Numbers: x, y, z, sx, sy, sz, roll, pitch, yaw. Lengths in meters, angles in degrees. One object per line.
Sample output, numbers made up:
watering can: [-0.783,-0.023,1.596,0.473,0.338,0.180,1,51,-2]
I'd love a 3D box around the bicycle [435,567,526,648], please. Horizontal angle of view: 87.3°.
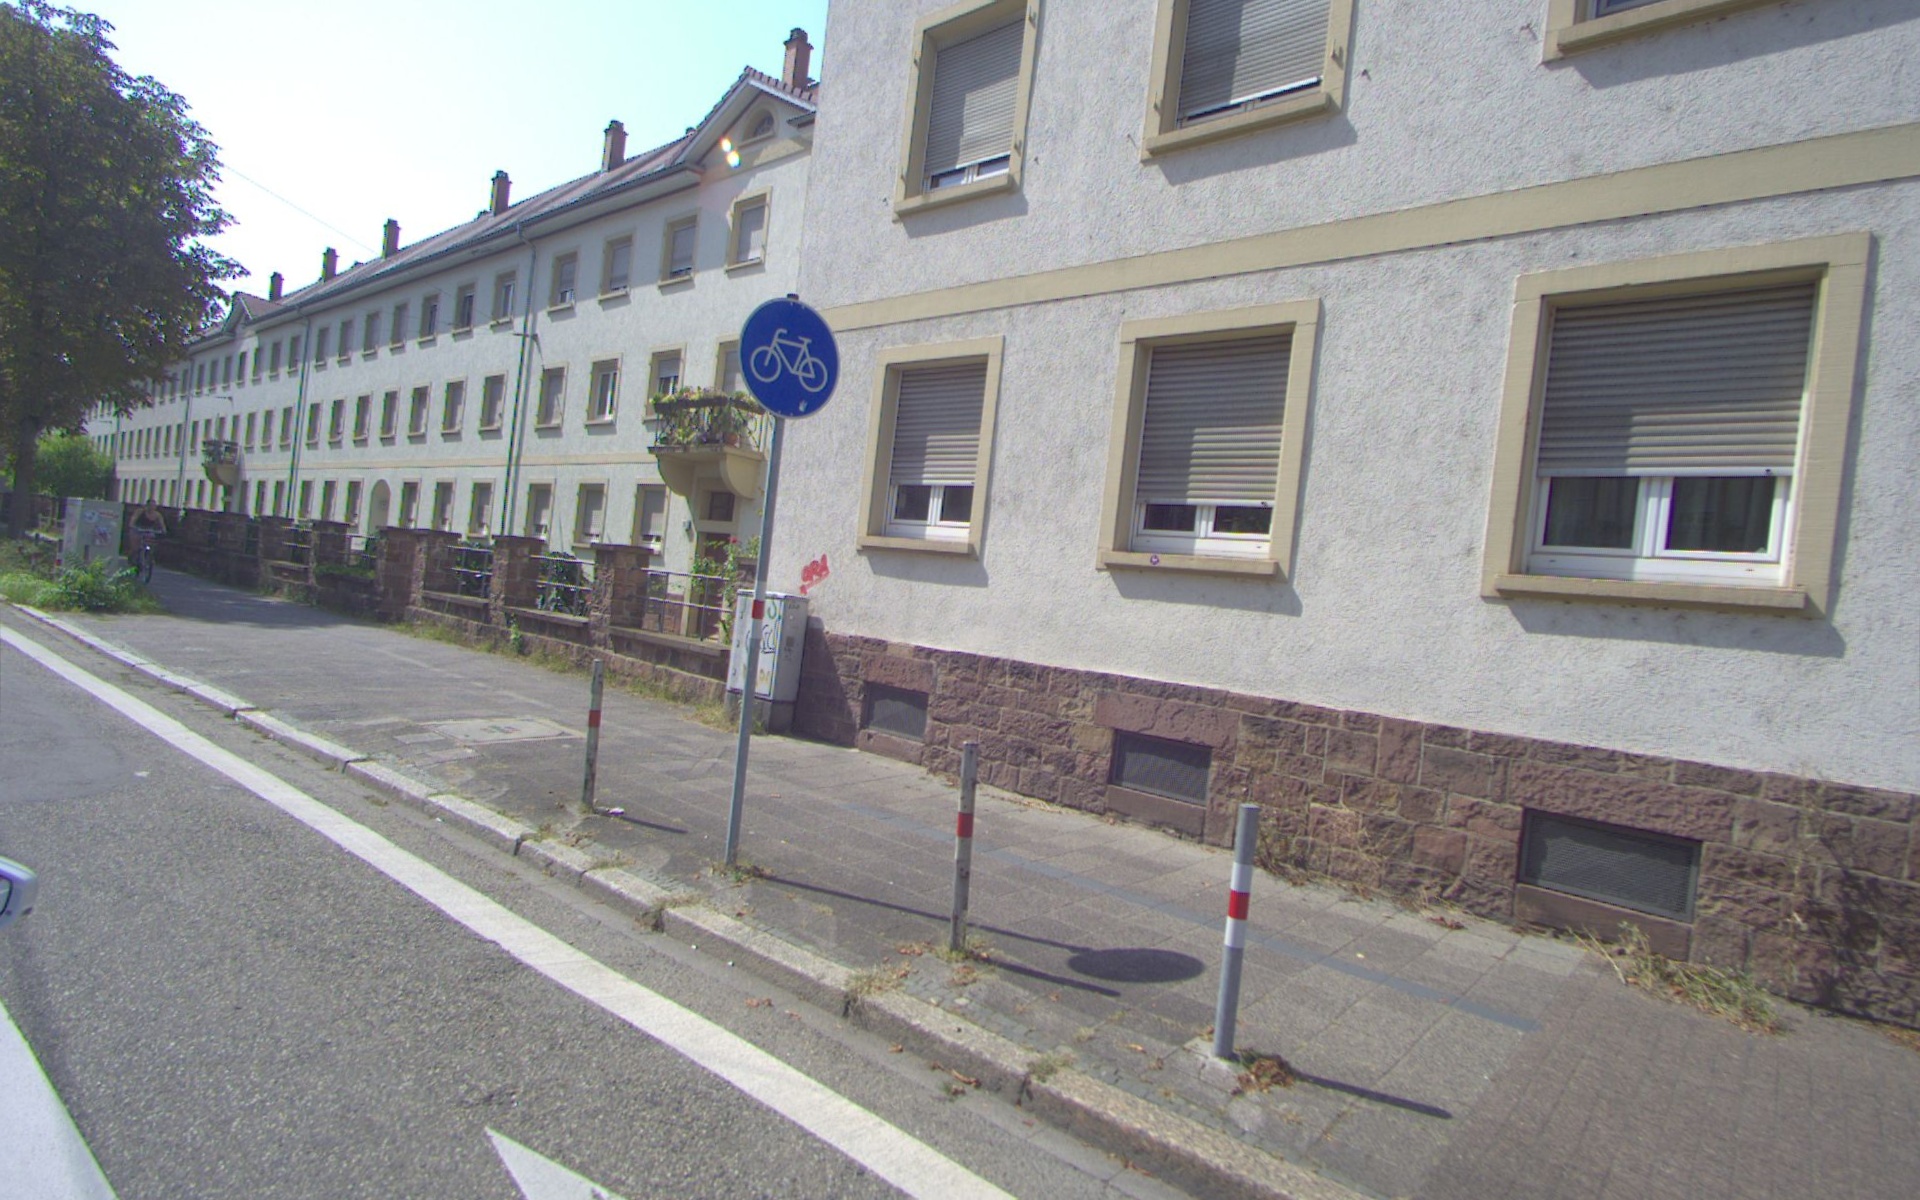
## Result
bicycle: [-7.419,0.100,15.521,1.802,1.060,0.440,6,0,38]

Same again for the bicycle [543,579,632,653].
bicycle: [-6.309,0.250,16.995,1.802,1.060,0.440,6,0,38]

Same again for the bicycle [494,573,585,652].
bicycle: [-6.737,0.187,16.075,1.802,1.060,0.440,6,0,38]

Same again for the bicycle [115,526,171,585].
bicycle: [-16.678,-0.912,20.521,1.802,1.060,0.440,6,0,38]

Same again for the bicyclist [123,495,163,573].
bicyclist: [-16.714,-1.352,20.585,0.465,1.530,0.437,7,1,38]

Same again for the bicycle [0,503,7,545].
bicycle: [-26.396,-2.109,26.862,0.382,1.122,1.393,6,0,6]
